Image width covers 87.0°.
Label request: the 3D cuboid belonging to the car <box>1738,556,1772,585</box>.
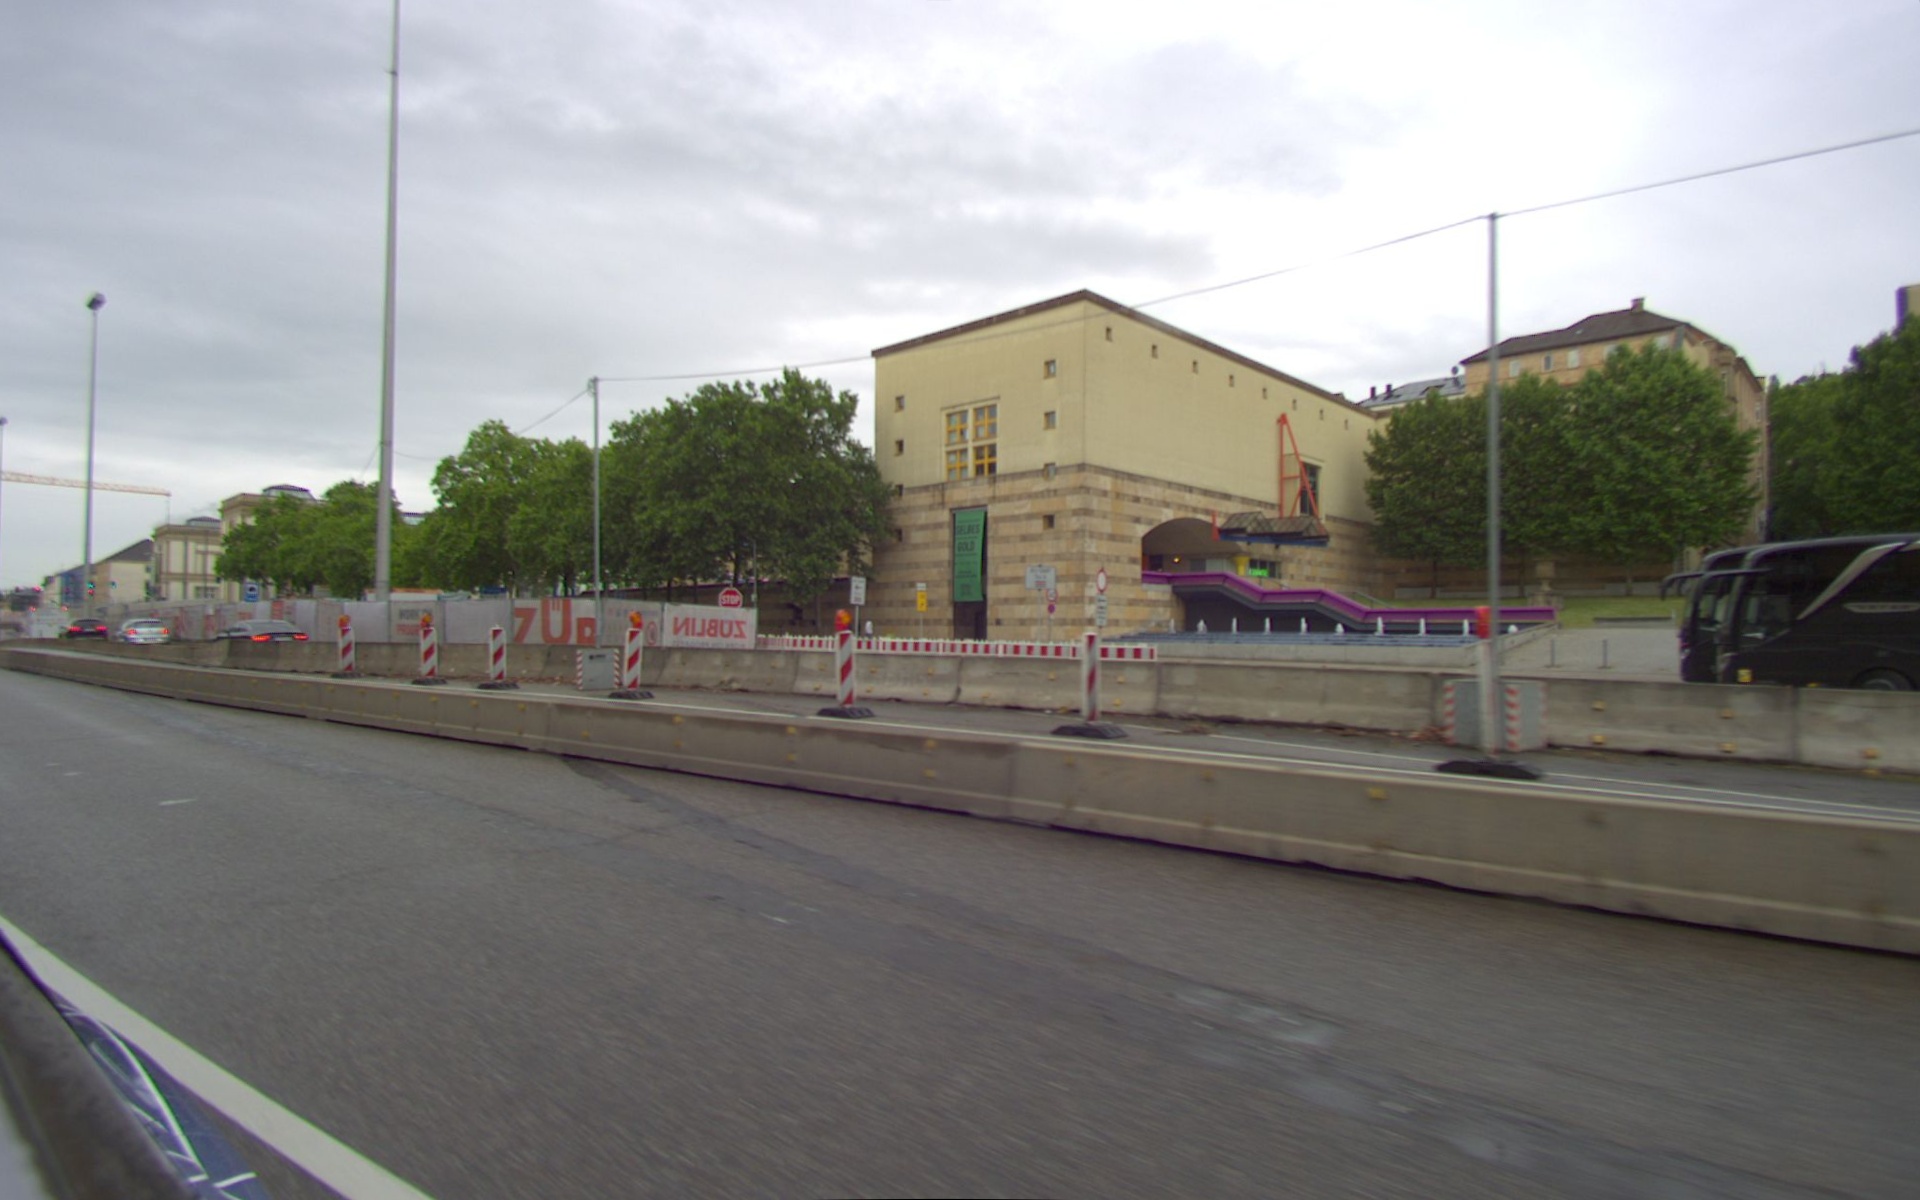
[{"bbox_3d":[59.436,-2.187,75.655,1.701,1.807,3.906,0,-3,43],"label":"car"}]

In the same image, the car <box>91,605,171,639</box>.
[{"bbox_3d":[-39.796,1.075,48.551,3.991,1.542,1.976,-1,-2,35],"label":"car"}]

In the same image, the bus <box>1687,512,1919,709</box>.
[{"bbox_3d":[22.167,0.139,18.102,2.771,3.840,14.610,0,-1,-43],"label":"bus"}]

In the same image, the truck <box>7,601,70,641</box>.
[{"bbox_3d":[-65.782,1.521,72.183,7.349,2.740,2.373,-1,-2,40],"label":"truck"}]

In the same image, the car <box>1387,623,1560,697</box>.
[{"bbox_3d":[11.483,1.295,22.711,3.212,1.512,1.575,-1,-3,40],"label":"car"}]

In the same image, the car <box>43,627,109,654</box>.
[{"bbox_3d":[-52.332,2.348,59.876,4.750,1.542,1.903,-1,-2,36],"label":"car"}]

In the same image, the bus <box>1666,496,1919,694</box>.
[{"bbox_3d":[23.413,-0.151,21.423,3.082,4.284,13.505,0,-1,-44],"label":"bus"}]

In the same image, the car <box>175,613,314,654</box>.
[{"bbox_3d":[-23.942,1.122,33.853,4.742,1.272,1.764,-1,0,26],"label":"car"}]
